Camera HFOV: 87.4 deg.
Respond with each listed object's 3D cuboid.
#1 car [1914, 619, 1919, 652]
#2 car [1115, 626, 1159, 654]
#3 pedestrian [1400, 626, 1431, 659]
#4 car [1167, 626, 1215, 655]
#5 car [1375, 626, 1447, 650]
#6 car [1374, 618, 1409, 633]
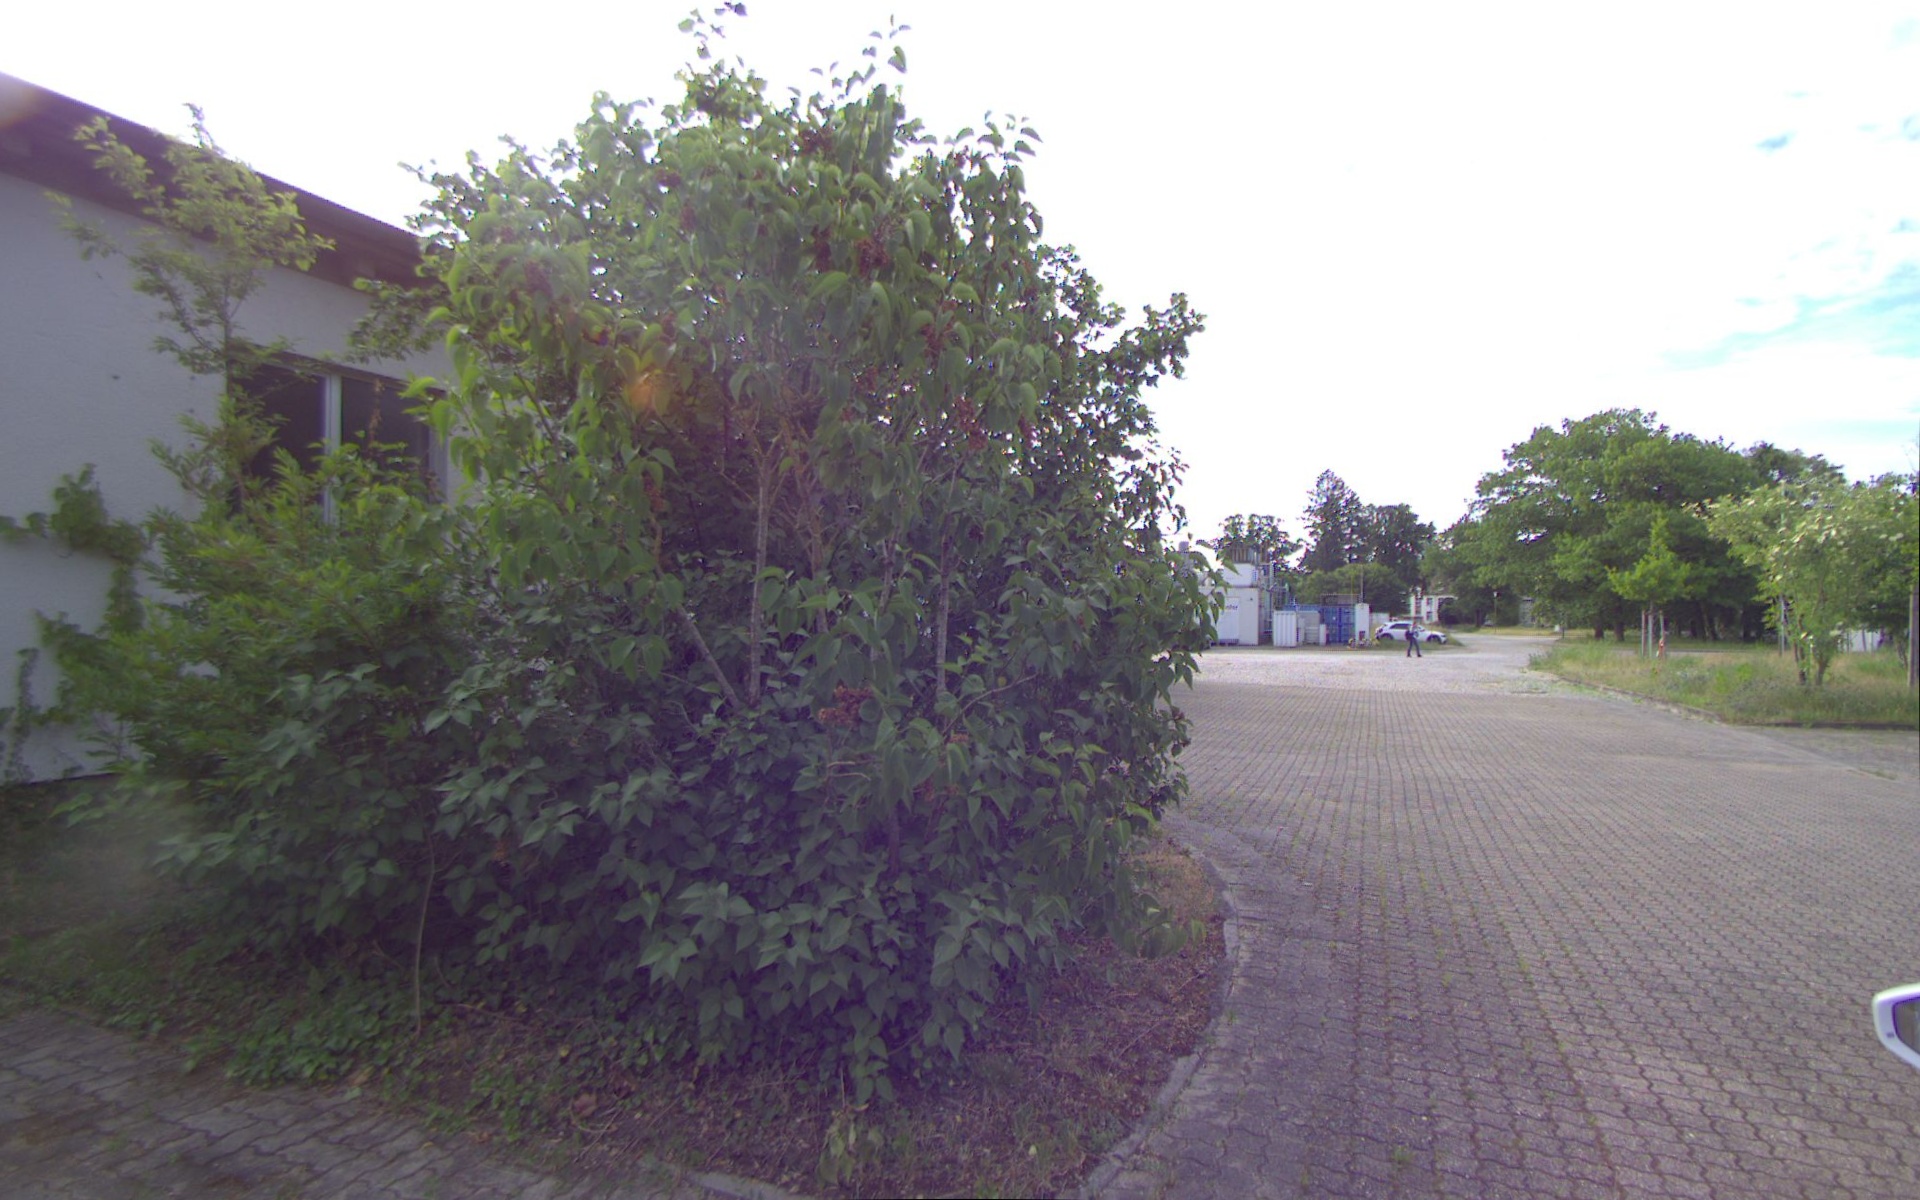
[{"bbox_3d":[59.639,2.130,59.810,2.205,2.040,5.336,0,-1,21],"label":"car"},{"bbox_3d":[10.527,2.332,59.604,1.875,1.495,4.046,0,0,21],"label":"car"},{"bbox_3d":[22.052,2.037,48.603,1.067,1.577,1.065,1,-2,-43],"label":"pedestrian"},{"bbox_3d":[13.409,2.312,58.115,2.004,1.472,4.527,0,0,23],"label":"car"},{"bbox_3d":[31.039,2.588,69.114,4.464,1.621,1.998,0,-1,26],"label":"car"},{"bbox_3d":[69.967,4.065,162.899,5.087,2.368,1.999,0,-1,23],"label":"car"}]
